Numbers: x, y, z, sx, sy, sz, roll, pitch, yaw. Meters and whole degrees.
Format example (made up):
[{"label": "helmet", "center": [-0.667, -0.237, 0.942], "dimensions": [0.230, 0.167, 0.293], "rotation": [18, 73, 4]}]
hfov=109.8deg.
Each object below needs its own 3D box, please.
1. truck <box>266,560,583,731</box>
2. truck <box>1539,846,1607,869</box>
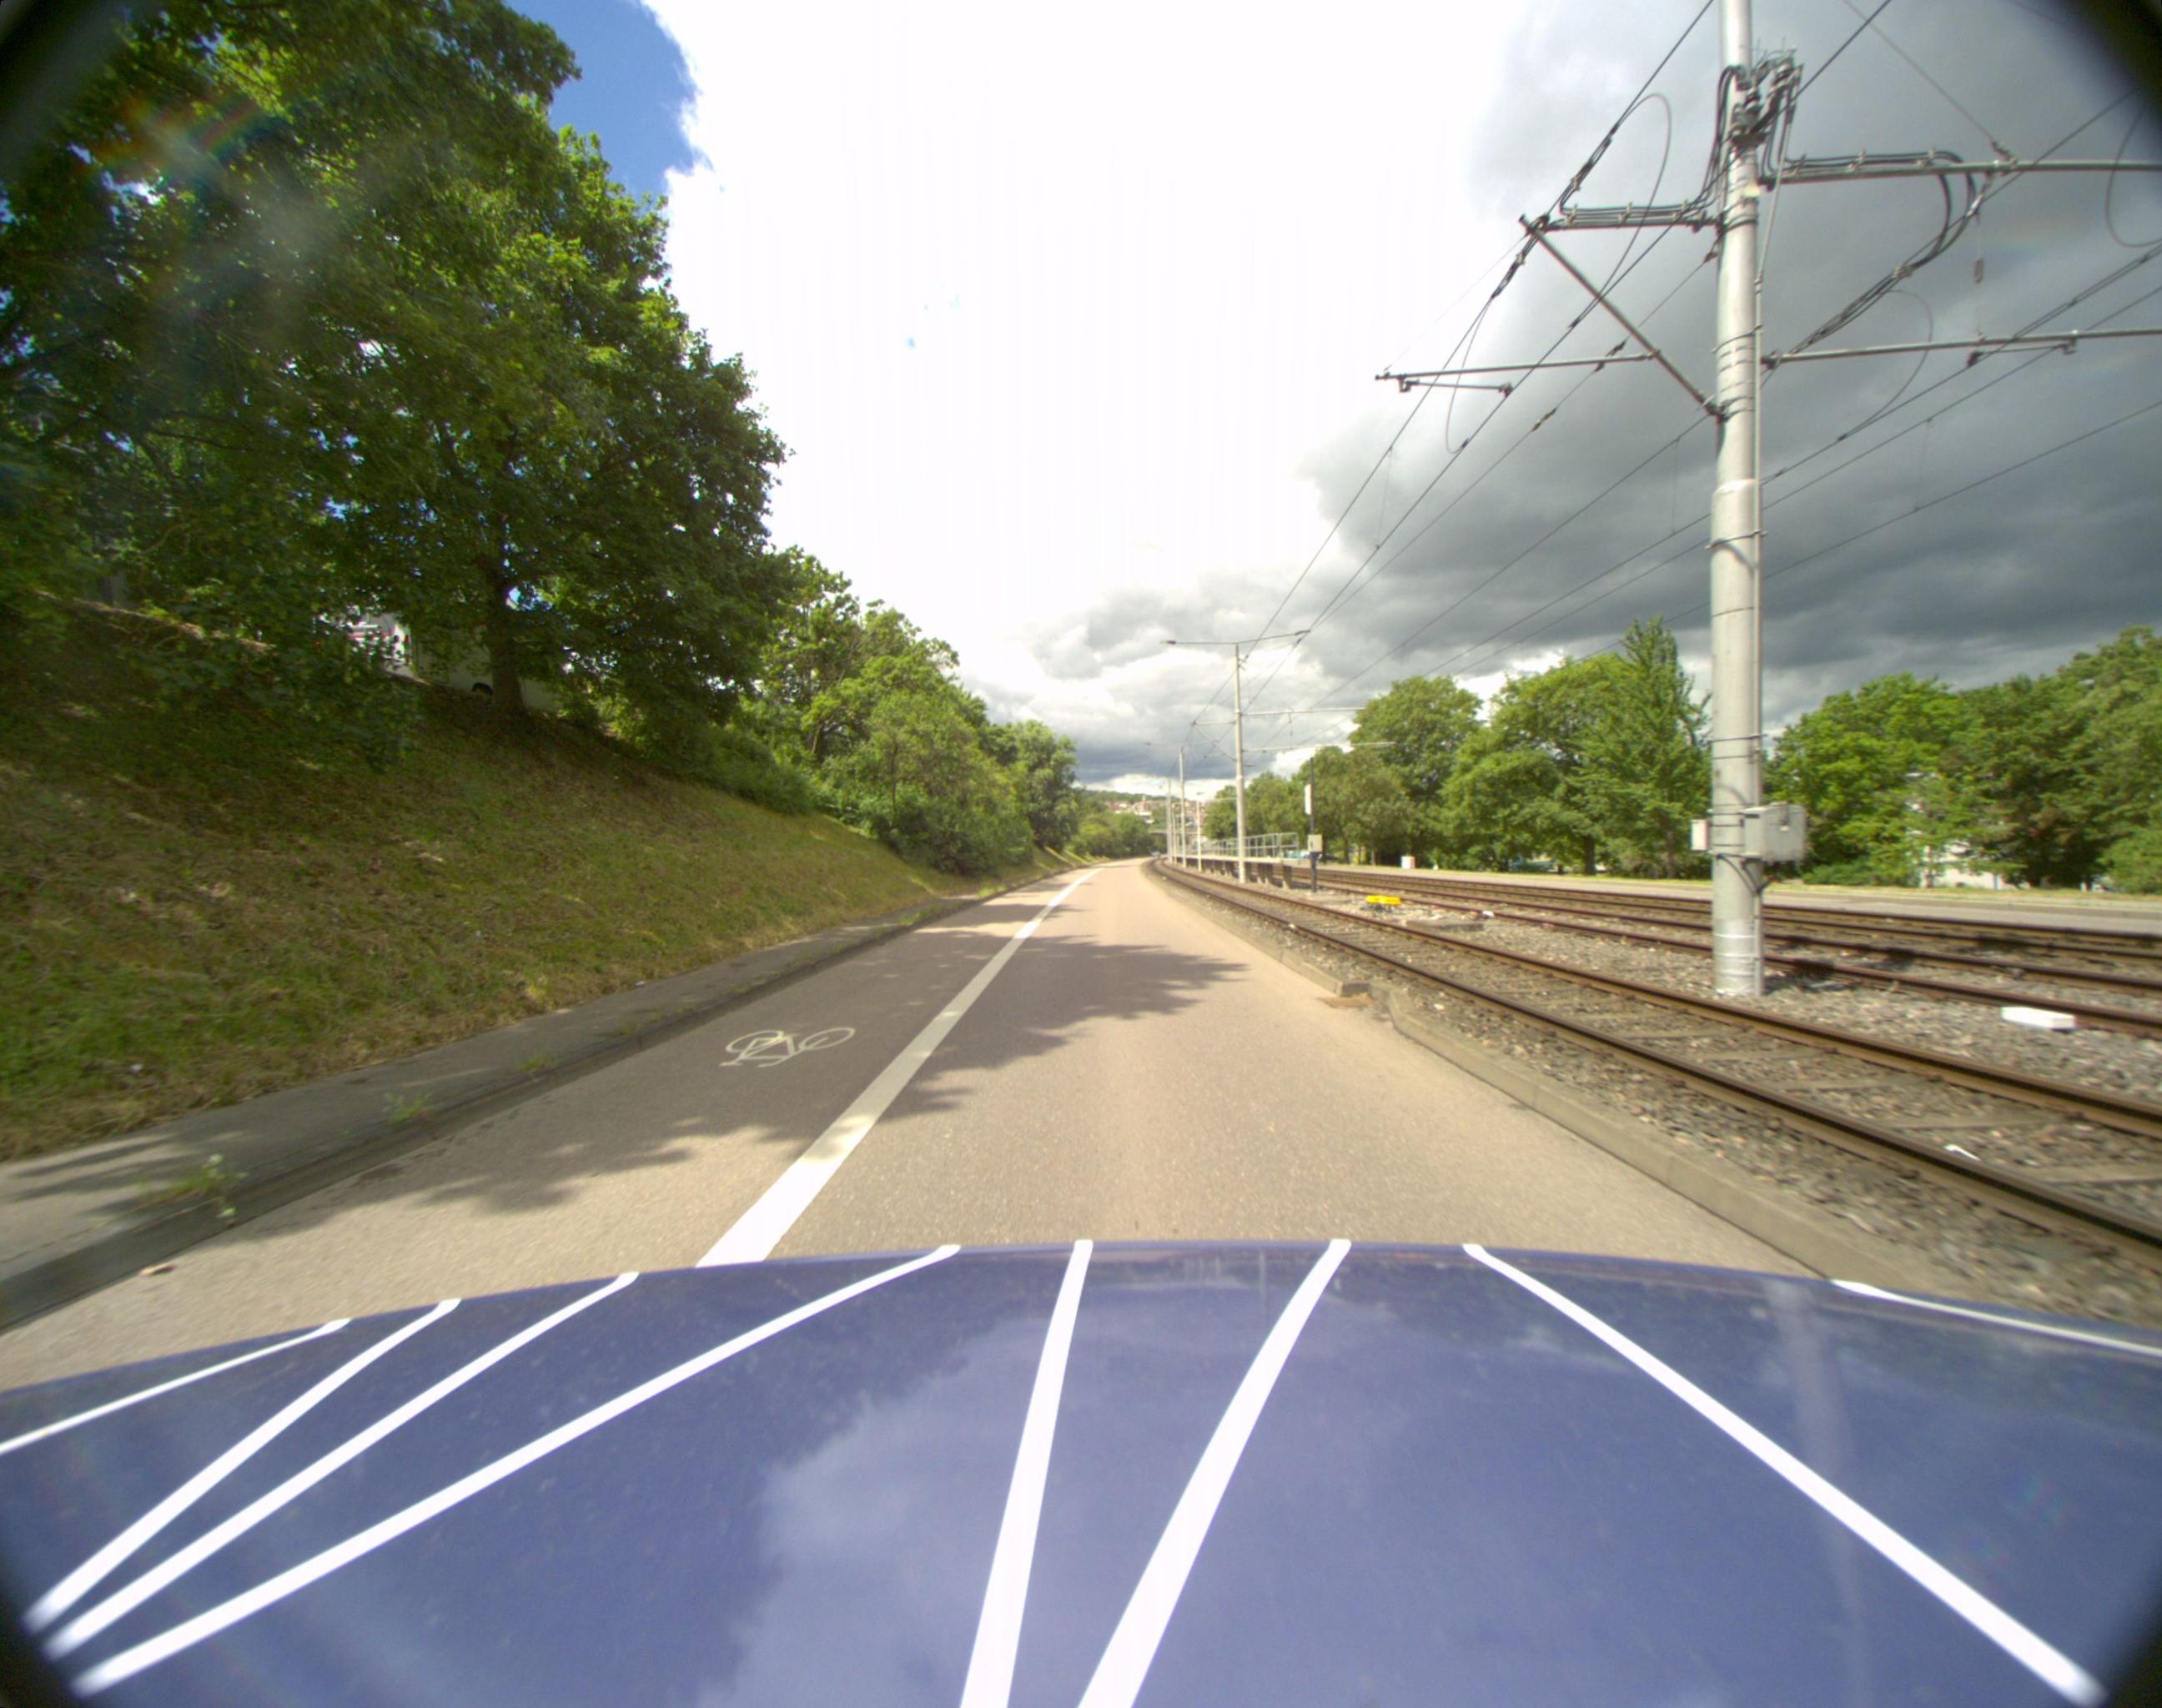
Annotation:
[{"label": "truck", "center": [-16.953, -5.216, 20.473], "dimensions": [2.356, 2.643, 7.039], "rotation": [-2, 0, 0]}, {"label": "truck", "center": [61.985, 0.411, 95.878], "dimensions": [6.615, 2.839, 2.681], "rotation": [1, 1, 7]}]
